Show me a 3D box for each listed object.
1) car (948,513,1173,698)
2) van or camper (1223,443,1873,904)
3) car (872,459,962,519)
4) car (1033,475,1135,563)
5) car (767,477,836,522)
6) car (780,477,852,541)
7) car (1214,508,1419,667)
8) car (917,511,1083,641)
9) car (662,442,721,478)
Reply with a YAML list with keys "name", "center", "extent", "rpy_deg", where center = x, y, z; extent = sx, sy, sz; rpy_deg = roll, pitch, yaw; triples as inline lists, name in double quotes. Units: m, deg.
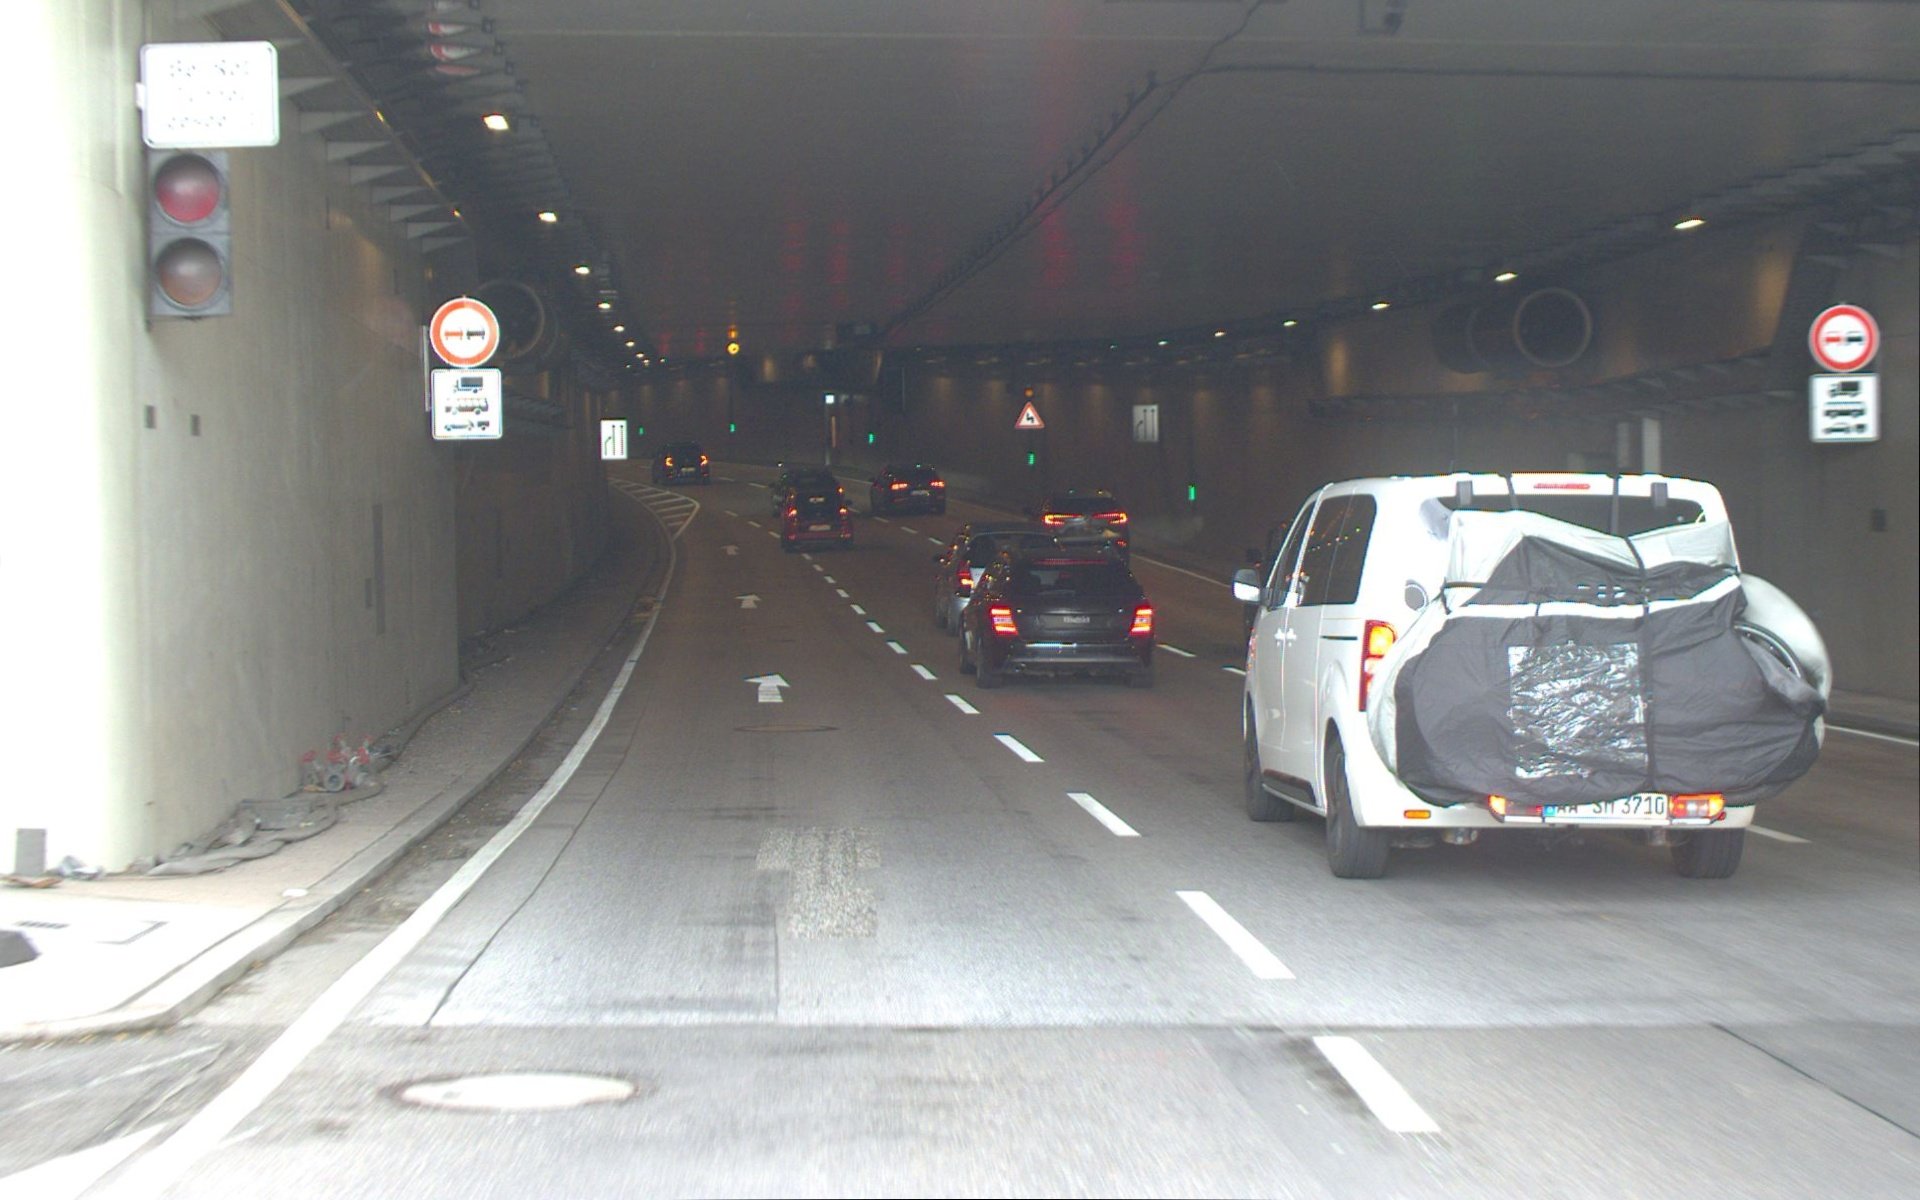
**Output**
- name: "car"
  center: [0.958, 0.004, 34.994]
  extent: [1.818, 1.678, 4.001]
  rpy_deg: [1, 2, -5]
- name: "van or camper"
  center: [2.600, 0.259, 16.712]
  extent: [1.993, 1.839, 5.509]
  rpy_deg: [1, 1, -2]
- name: "car"
  center: [-1.274, -3.215, 100.163]
  extent: [1.989, 1.670, 4.510]
  rpy_deg: [0, 1, -9]
- name: "car"
  center: [2.502, -1.674, 70.033]
  extent: [1.660, 1.628, 3.568]
  rpy_deg: [3, 2, -3]
- name: "car"
  center: [-4.563, -2.865, 98.599]
  extent: [1.663, 1.242, 3.568]
  rpy_deg: [0, 1, -8]
- name: "car"
  center: [-3.492, -2.182, 82.870]
  extent: [1.660, 1.483, 3.568]
  rpy_deg: [0, 1, -3]
- name: "car"
  center: [4.421, -0.205, 43.214]
  extent: [1.818, 1.743, 4.001]
  rpy_deg: [3, 2, -4]
- name: "car"
  center: [0.510, -0.374, 48.289]
  extent: [1.818, 1.575, 4.001]
  rpy_deg: [3, 2, -6]
- name: "car"
  center: [-9.676, -5.020, 123.795]
  extent: [1.508, 1.242, 3.568]
  rpy_deg: [-1, 2, -14]
